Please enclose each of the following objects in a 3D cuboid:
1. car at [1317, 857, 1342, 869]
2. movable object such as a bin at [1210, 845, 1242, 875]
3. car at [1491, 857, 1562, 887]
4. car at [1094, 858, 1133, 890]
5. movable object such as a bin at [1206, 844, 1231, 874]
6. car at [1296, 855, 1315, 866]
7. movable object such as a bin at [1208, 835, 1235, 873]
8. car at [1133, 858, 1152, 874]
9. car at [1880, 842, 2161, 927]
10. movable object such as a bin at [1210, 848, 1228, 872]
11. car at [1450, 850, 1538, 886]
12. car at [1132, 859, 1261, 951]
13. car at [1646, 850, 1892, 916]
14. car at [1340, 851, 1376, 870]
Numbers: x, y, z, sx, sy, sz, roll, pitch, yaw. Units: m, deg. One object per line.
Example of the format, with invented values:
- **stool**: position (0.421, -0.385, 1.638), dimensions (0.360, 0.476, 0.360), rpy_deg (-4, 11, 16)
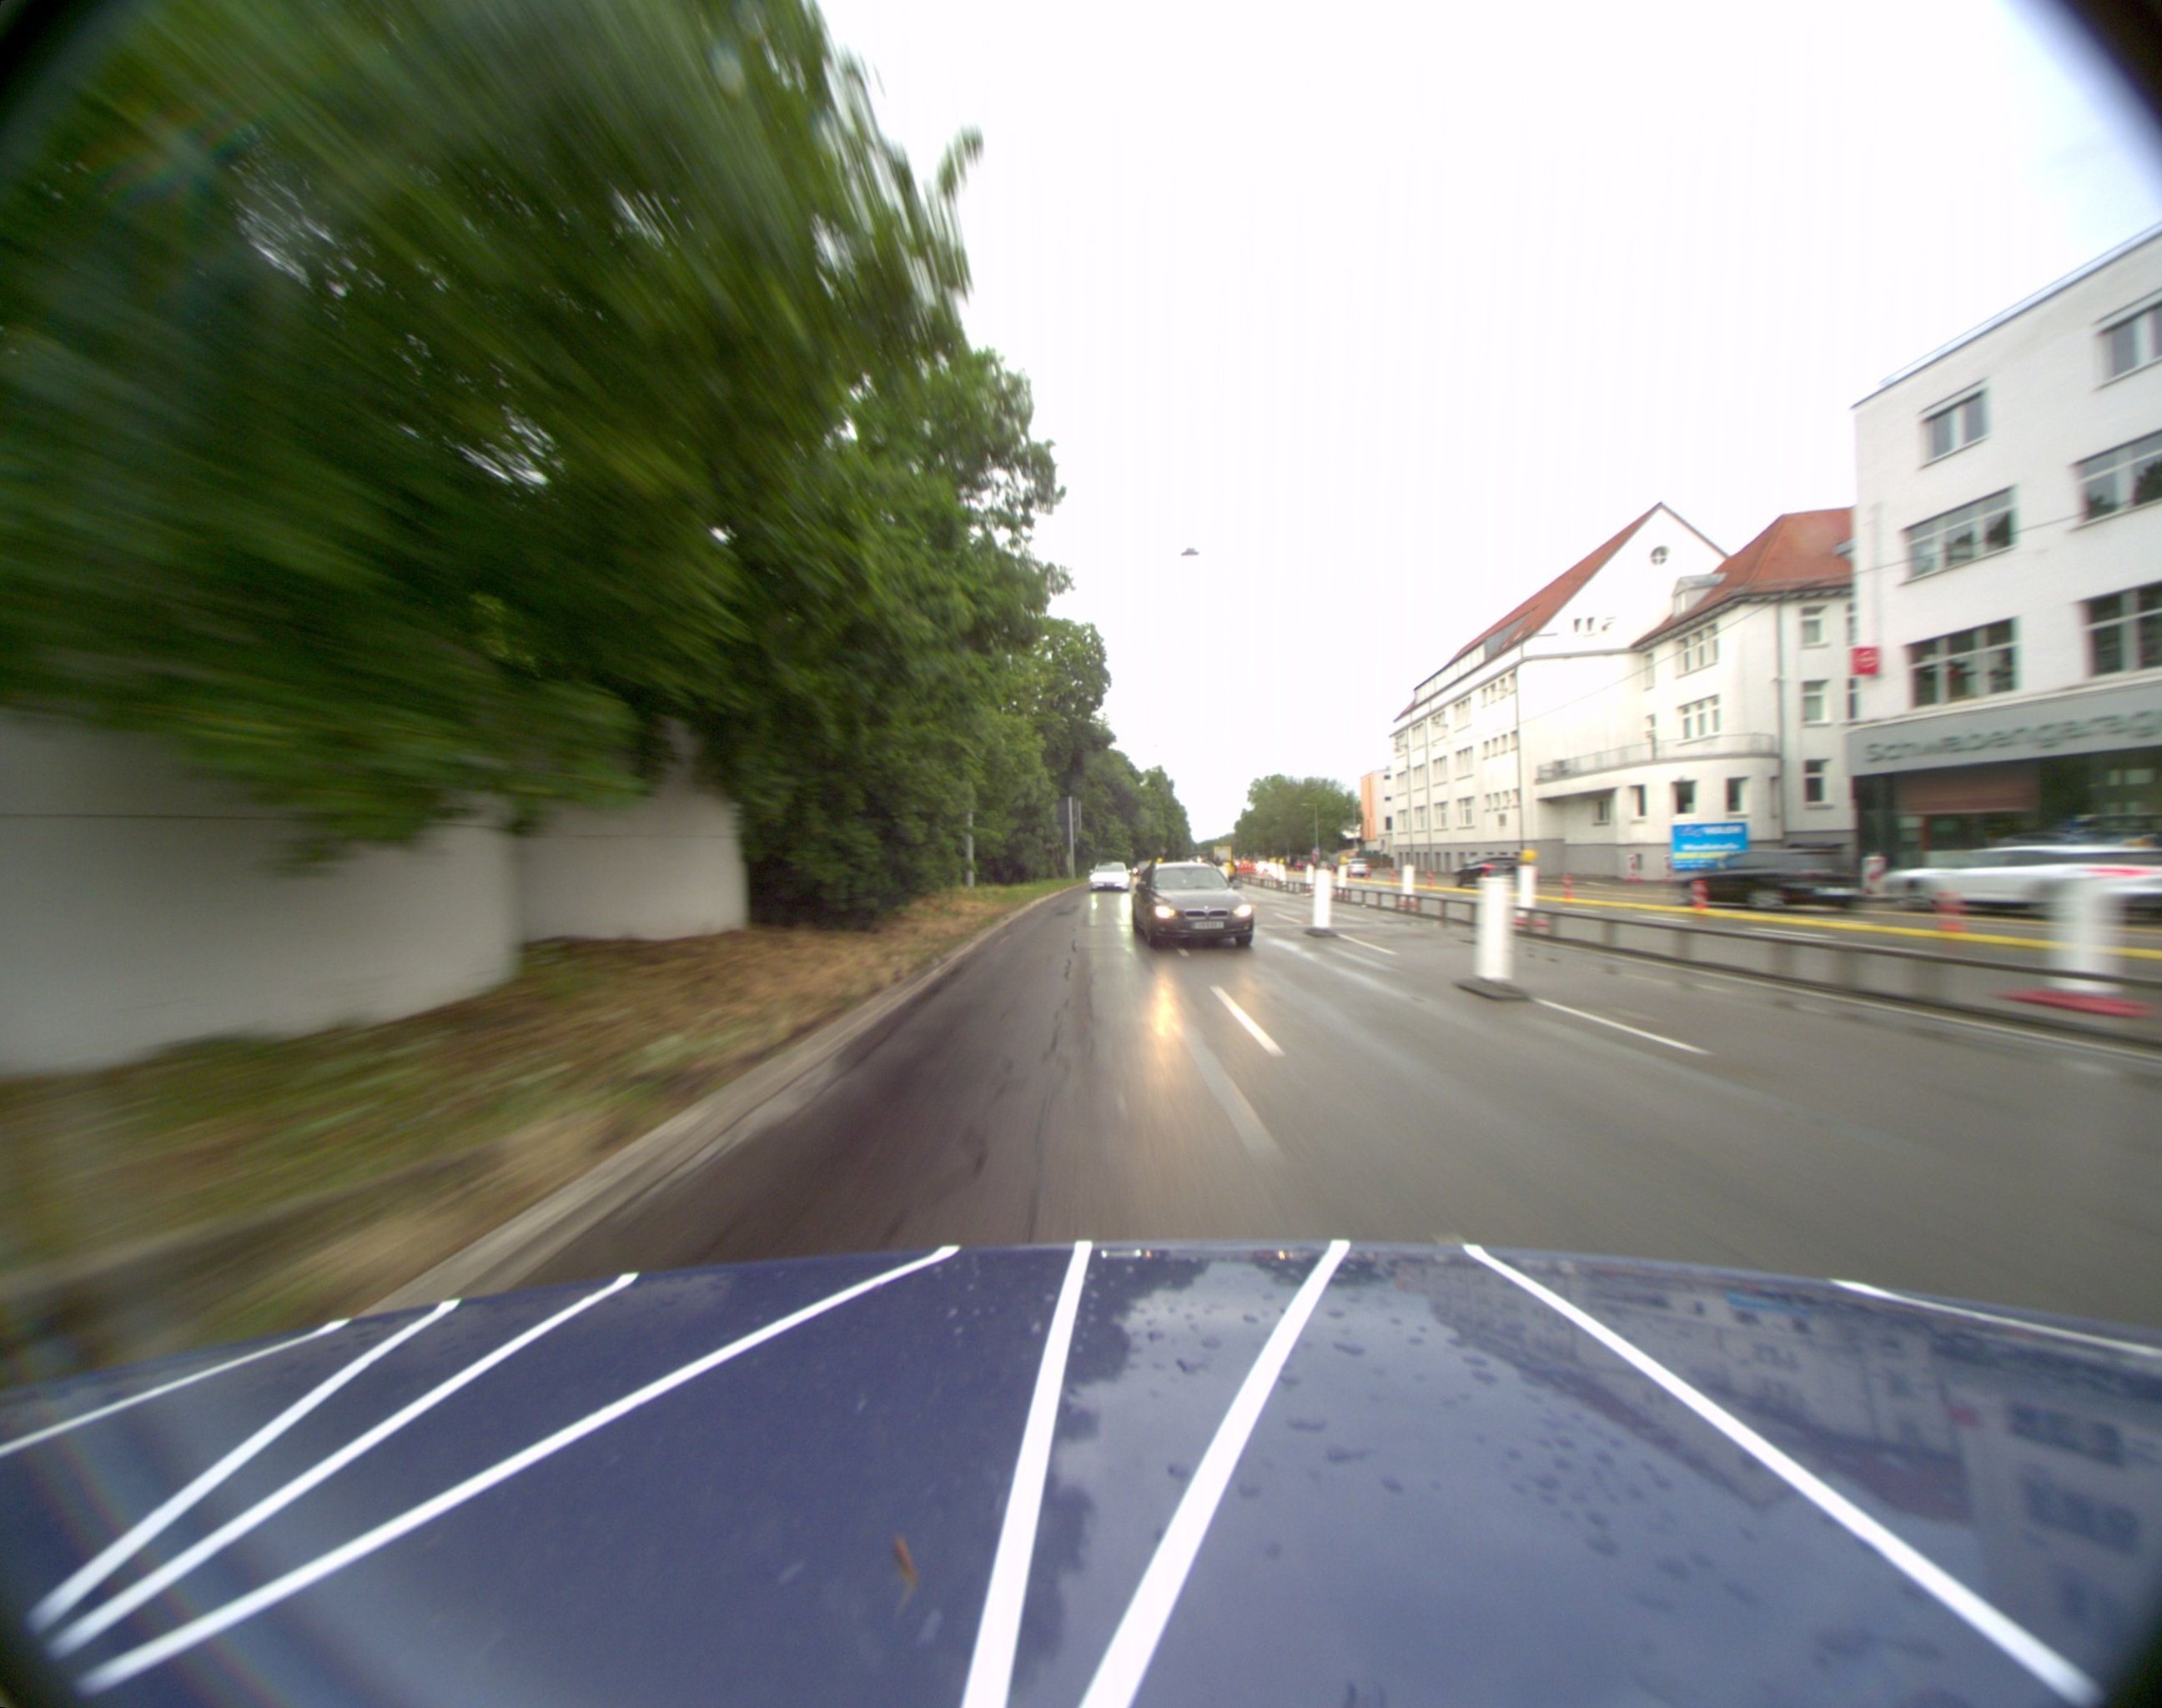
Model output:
- **car**: position (29.327, 1.007, 89.770), dimensions (1.862, 1.373, 4.001), rpy_deg (0, 0, 4)
- **movable object such as a bin**: position (10.461, 0.454, 55.140), dimensions (1.997, 2.099, 3.851), rpy_deg (-1, 0, 7)
- **car**: position (23.136, 0.908, 39.608), dimensions (1.737, 1.406, 3.709), rpy_deg (-1, 1, 4)
- **car**: position (1.579, 0.957, 38.400), dimensions (1.839, 1.424, 4.273), rpy_deg (-1, 1, 1)
- **movable object such as a bin**: position (13.252, 0.437, 73.402), dimensions (2.125, 2.821, 4.481), rpy_deg (-1, 0, 7)
- **car**: position (33.160, 1.014, 112.368), dimensions (1.997, 1.575, 4.213), rpy_deg (-1, 0, 8)
- **movable object such as a bin**: position (10.999, 0.011, 59.713), dimensions (1.825, 2.895, 3.609), rpy_deg (0, 0, 7)
- **car**: position (7.401, 1.433, 91.696), dimensions (1.998, 1.740, 4.000), rpy_deg (-1, 1, 1)
- **car**: position (19.631, 0.513, 15.645), dimensions (1.787, 1.499, 4.522), rpy_deg (-1, 1, 4)
- **movable object such as a bin**: position (12.314, 0.545, 67.913), dimensions (1.399, 2.032, 4.088), rpy_deg (-1, 0, 7)
- **car**: position (17.626, 0.562, 32.637), dimensions (1.802, 1.379, 3.805), rpy_deg (-1, 1, 2)
- **car**: position (2.006, 0.845, 14.396), dimensions (1.764, 1.441, 4.177), rpy_deg (-1, 0, 0)
- **car**: position (16.427, 0.608, 18.580), dimensions (1.802, 1.343, 4.812), rpy_deg (-1, 1, 2)
- **car**: position (21.882, 0.514, 60.109), dimensions (1.704, 1.456, 4.119), rpy_deg (1, 0, 6)
